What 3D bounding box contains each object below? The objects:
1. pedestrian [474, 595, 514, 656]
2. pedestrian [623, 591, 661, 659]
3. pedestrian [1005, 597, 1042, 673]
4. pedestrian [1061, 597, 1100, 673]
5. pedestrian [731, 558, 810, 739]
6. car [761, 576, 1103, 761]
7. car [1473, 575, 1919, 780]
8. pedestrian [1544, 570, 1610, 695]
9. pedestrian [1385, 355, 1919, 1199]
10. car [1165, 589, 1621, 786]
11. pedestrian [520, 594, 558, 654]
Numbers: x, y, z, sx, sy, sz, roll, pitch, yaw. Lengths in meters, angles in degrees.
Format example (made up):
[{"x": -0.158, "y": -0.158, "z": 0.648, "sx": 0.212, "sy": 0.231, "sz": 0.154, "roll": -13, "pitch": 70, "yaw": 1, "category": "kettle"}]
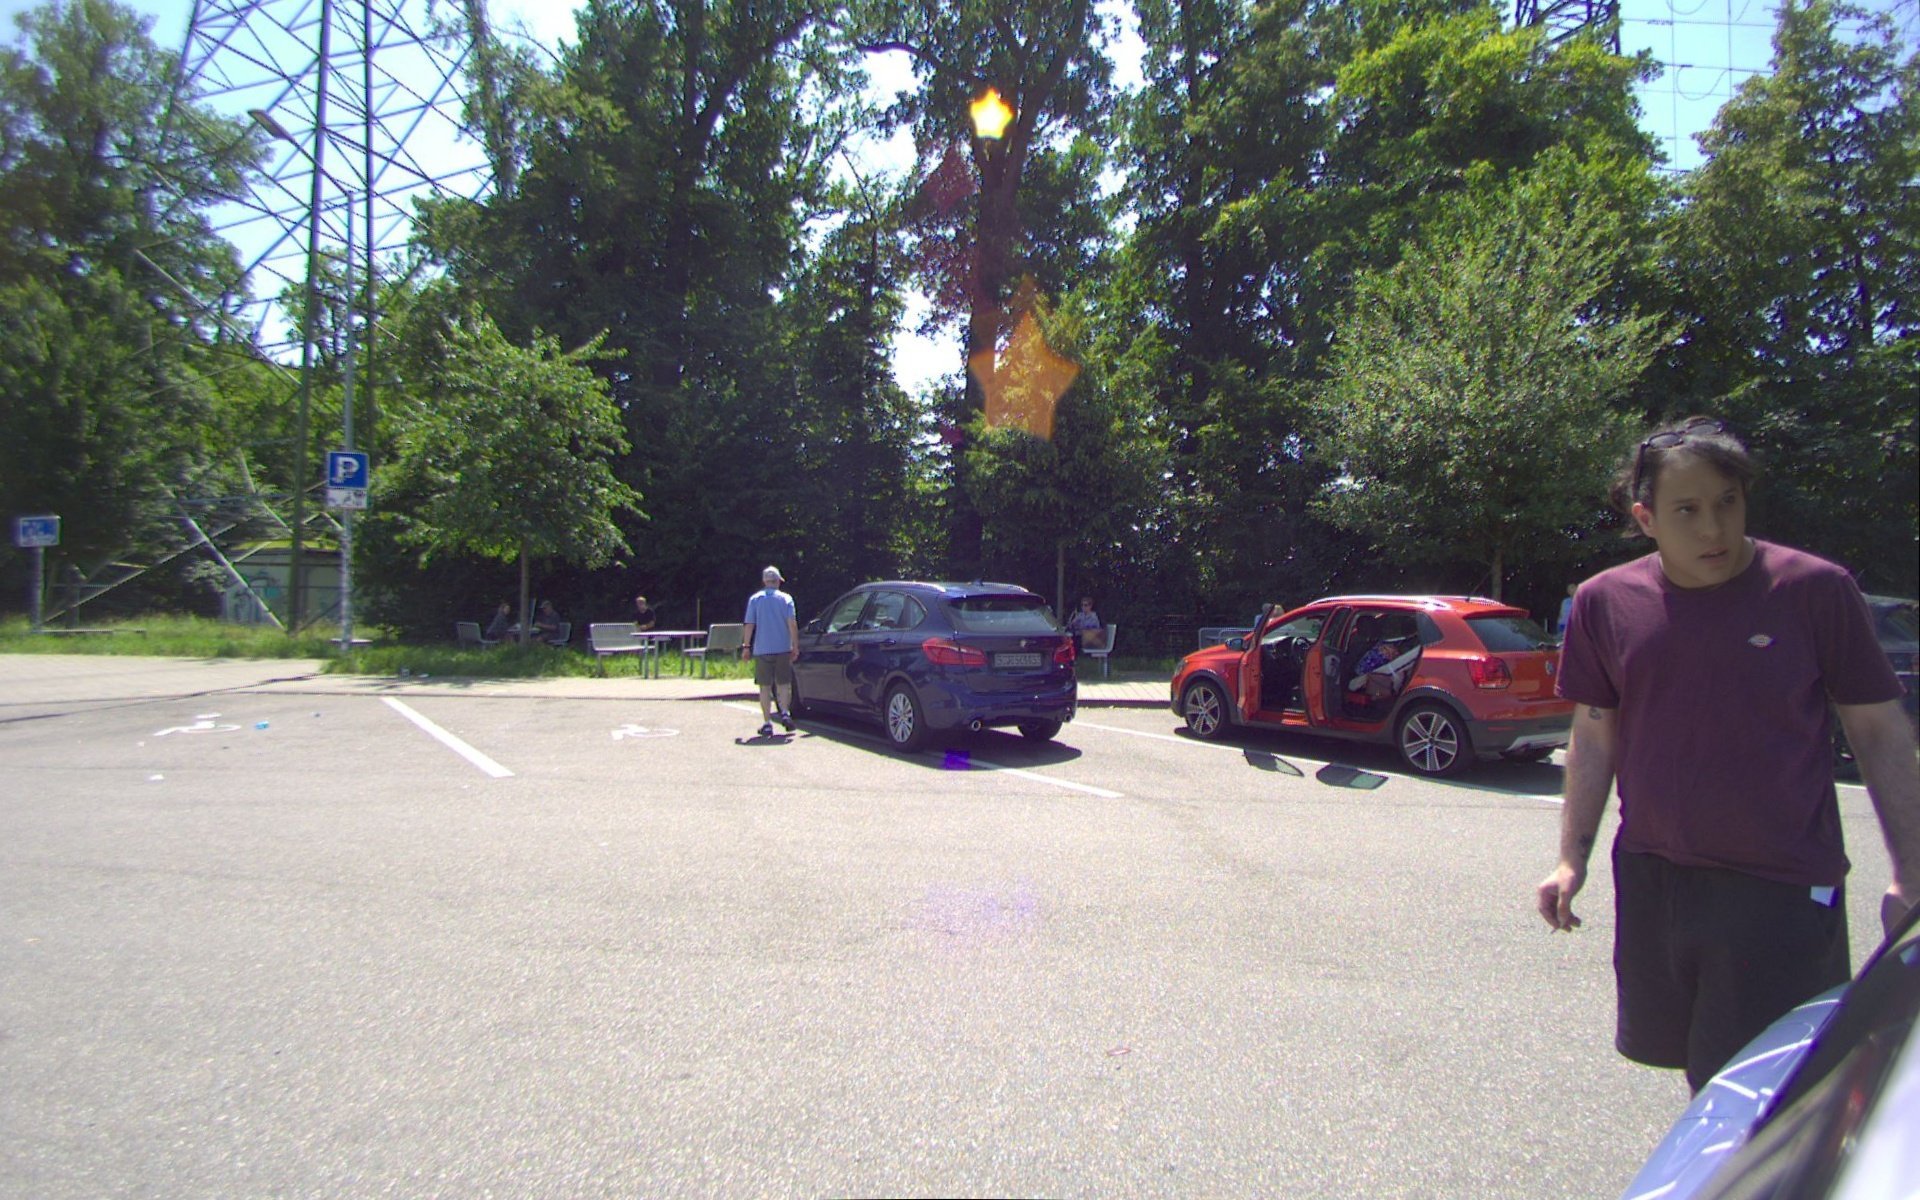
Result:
[{"x": -10.520, "y": 0.557, "z": 22.836, "sx": 0.687, "sy": 1.352, "sz": 0.563, "roll": 0, "pitch": 0, "yaw": -40, "category": "pedestrian"}, {"x": -6.691, "y": 0.523, "z": 21.313, "sx": 0.553, "sy": 1.408, "sz": 0.700, "roll": 0, "pitch": 0, "yaw": 2, "category": "pedestrian"}, {"x": 1.066, "y": 0.586, "z": 17.077, "sx": 0.576, "sy": 1.251, "sz": 0.697, "roll": 0, "pitch": -1, "yaw": 1, "category": "pedestrian"}, {"x": 2.013, "y": 0.582, "z": 17.011, "sx": 0.576, "sy": 1.251, "sz": 0.697, "roll": 0, "pitch": -1, "yaw": 1, "category": "pedestrian"}, {"x": -1.939, "y": 0.465, "z": 10.301, "sx": 0.661, "sy": 1.754, "sz": 0.835, "roll": 1, "pitch": 0, "yaw": -19, "category": "pedestrian"}, {"x": -0.486, "y": 0.558, "z": 10.662, "sx": 1.776, "sy": 1.562, "sz": 3.940, "roll": 1, "pitch": 0, "yaw": -34, "category": "car"}, {"x": 7.217, "y": 0.595, "z": 9.704, "sx": 1.707, "sy": 1.607, "sz": 3.732, "roll": 1, "pitch": 0, "yaw": -39, "category": "car"}, {"x": 9.375, "y": 0.484, "z": 15.407, "sx": 0.756, "sy": 1.854, "sz": 0.517, "roll": 0, "pitch": 0, "yaw": 21, "category": "pedestrian"}, {"x": 1.457, "y": 0.544, "z": 1.998, "sx": 0.848, "sy": 1.857, "sz": 0.861, "roll": 0, "pitch": 0, "yaw": -1, "category": "pedestrian"}, {"x": 3.851, "y": 0.645, "z": 9.589, "sx": 1.559, "sy": 1.467, "sz": 3.737, "roll": 1, "pitch": 0, "yaw": -33, "category": "car"}, {"x": -9.763, "y": 0.547, "z": 23.474, "sx": 0.687, "sy": 1.352, "sz": 0.563, "roll": 0, "pitch": 0, "yaw": -40, "category": "pedestrian"}]
